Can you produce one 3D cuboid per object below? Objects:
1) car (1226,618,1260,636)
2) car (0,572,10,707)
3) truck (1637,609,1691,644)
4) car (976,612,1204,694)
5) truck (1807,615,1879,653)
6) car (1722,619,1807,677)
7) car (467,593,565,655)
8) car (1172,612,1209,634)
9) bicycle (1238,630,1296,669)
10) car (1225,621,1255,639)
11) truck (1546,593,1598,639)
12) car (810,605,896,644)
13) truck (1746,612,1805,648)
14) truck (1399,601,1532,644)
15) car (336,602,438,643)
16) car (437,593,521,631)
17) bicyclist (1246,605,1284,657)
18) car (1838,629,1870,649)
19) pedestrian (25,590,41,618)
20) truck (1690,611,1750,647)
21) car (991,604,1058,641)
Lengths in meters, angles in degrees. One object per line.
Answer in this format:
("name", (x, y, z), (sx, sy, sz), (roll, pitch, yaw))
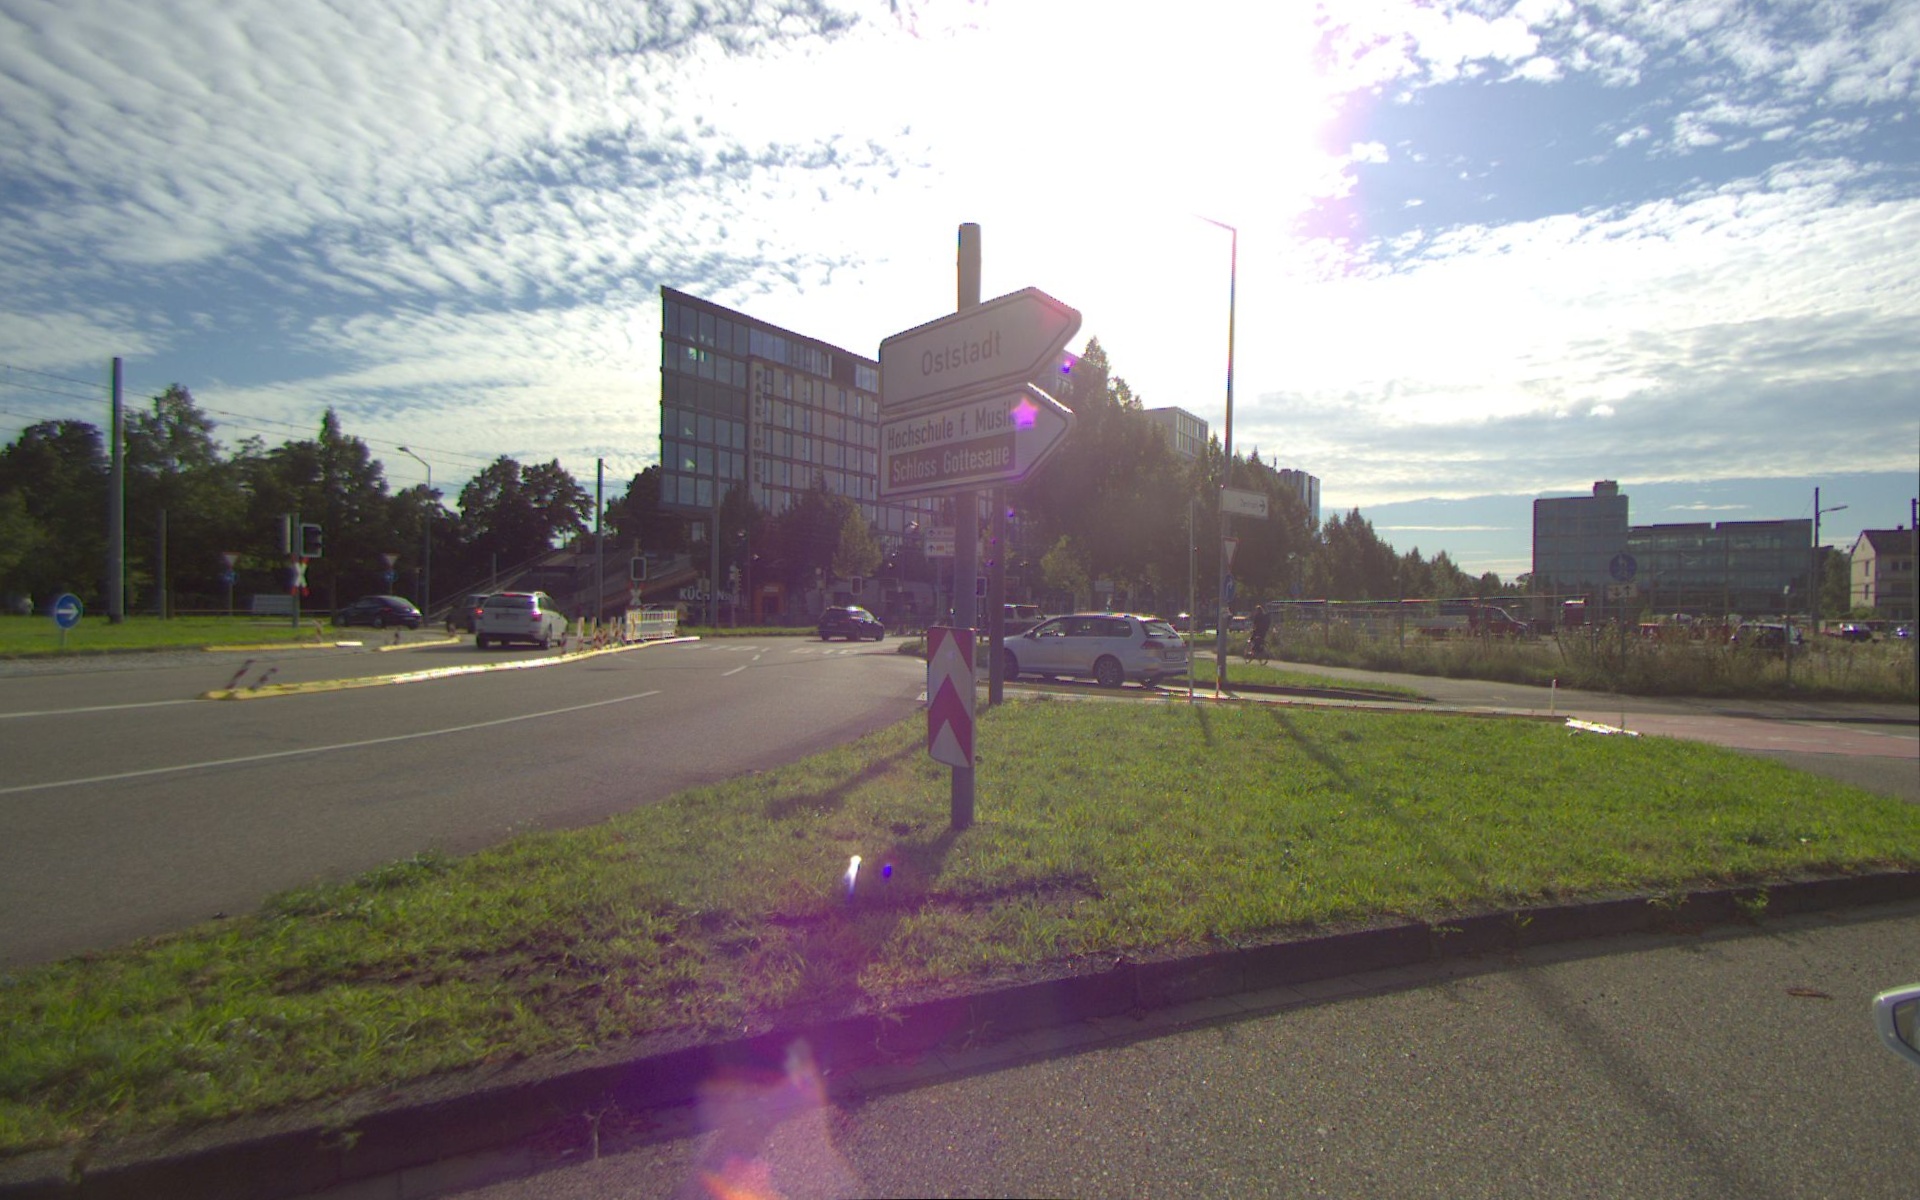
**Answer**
("car", (26.546, 2.487, 94.070), (1.869, 1.632, 4.650), (1, 0, 32))
("car", (-11.920, 0.394, 9.644), (1.732, 1.484, 3.660), (1, -1, 20))
("truck", (50.537, 1.839, 72.225), (2.292, 2.359, 6.444), (1, 0, 28))
("car", (2.637, 1.037, 21.062), (4.473, 1.471, 1.815), (1, 0, 39))
("truck", (58.877, 2.217, 67.095), (2.251, 2.359, 5.631), (1, 0, 28))
("car", (27.914, 1.625, 34.816), (1.860, 1.840, 3.975), (1, -1, 45))
("car", (-11.907, 0.610, 27.207), (1.827, 1.464, 4.621), (3, -1, -17))
("car", (20.712, 2.054, 90.135), (1.868, 1.928, 4.651), (1, 0, 31))
("bicycle", (9.091, 1.444, 29.837), (0.692, 1.077, 2.200), (0, -1, -11))
("car", (26.374, 2.781, 94.473), (1.866, 1.632, 4.656), (1, 0, 26))
("truck", (45.435, 1.193, 74.744), (2.765, 3.250, 7.306), (1, 0, 28))
("car", (-4.873, 1.108, 46.446), (1.961, 1.587, 4.844), (3, 0, 20))
("truck", (56.111, 2.035, 69.250), (2.025, 2.359, 5.631), (1, 0, 28))
("truck", (33.829, 1.480, 67.328), (7.723, 2.601, 3.067), (1, 0, 32))
("car", (-25.435, 0.968, 44.601), (3.924, 1.562, 1.998), (2, 2, 24))
("car", (-19.682, 0.462, 41.043), (3.945, 1.450, 1.826), (1, 0, 44))
("bicyclist", (9.092, 0.912, 29.978), (0.692, 1.531, 1.008), (0, 0, -11))
("car", (85.311, 3.702, 95.886), (1.968, 1.884, 3.984), (1, -1, 37))
("pedestrian", (-54.403, 0.256, 58.957), (0.496, 1.646, 0.548), (1, 0, 23))
("truck", (53.513, 2.015, 70.820), (2.292, 2.359, 6.444), (1, 0, 28))
("car", (3.691, 1.228, 56.700), (1.868, 1.928, 4.651), (2, 1, 30))
